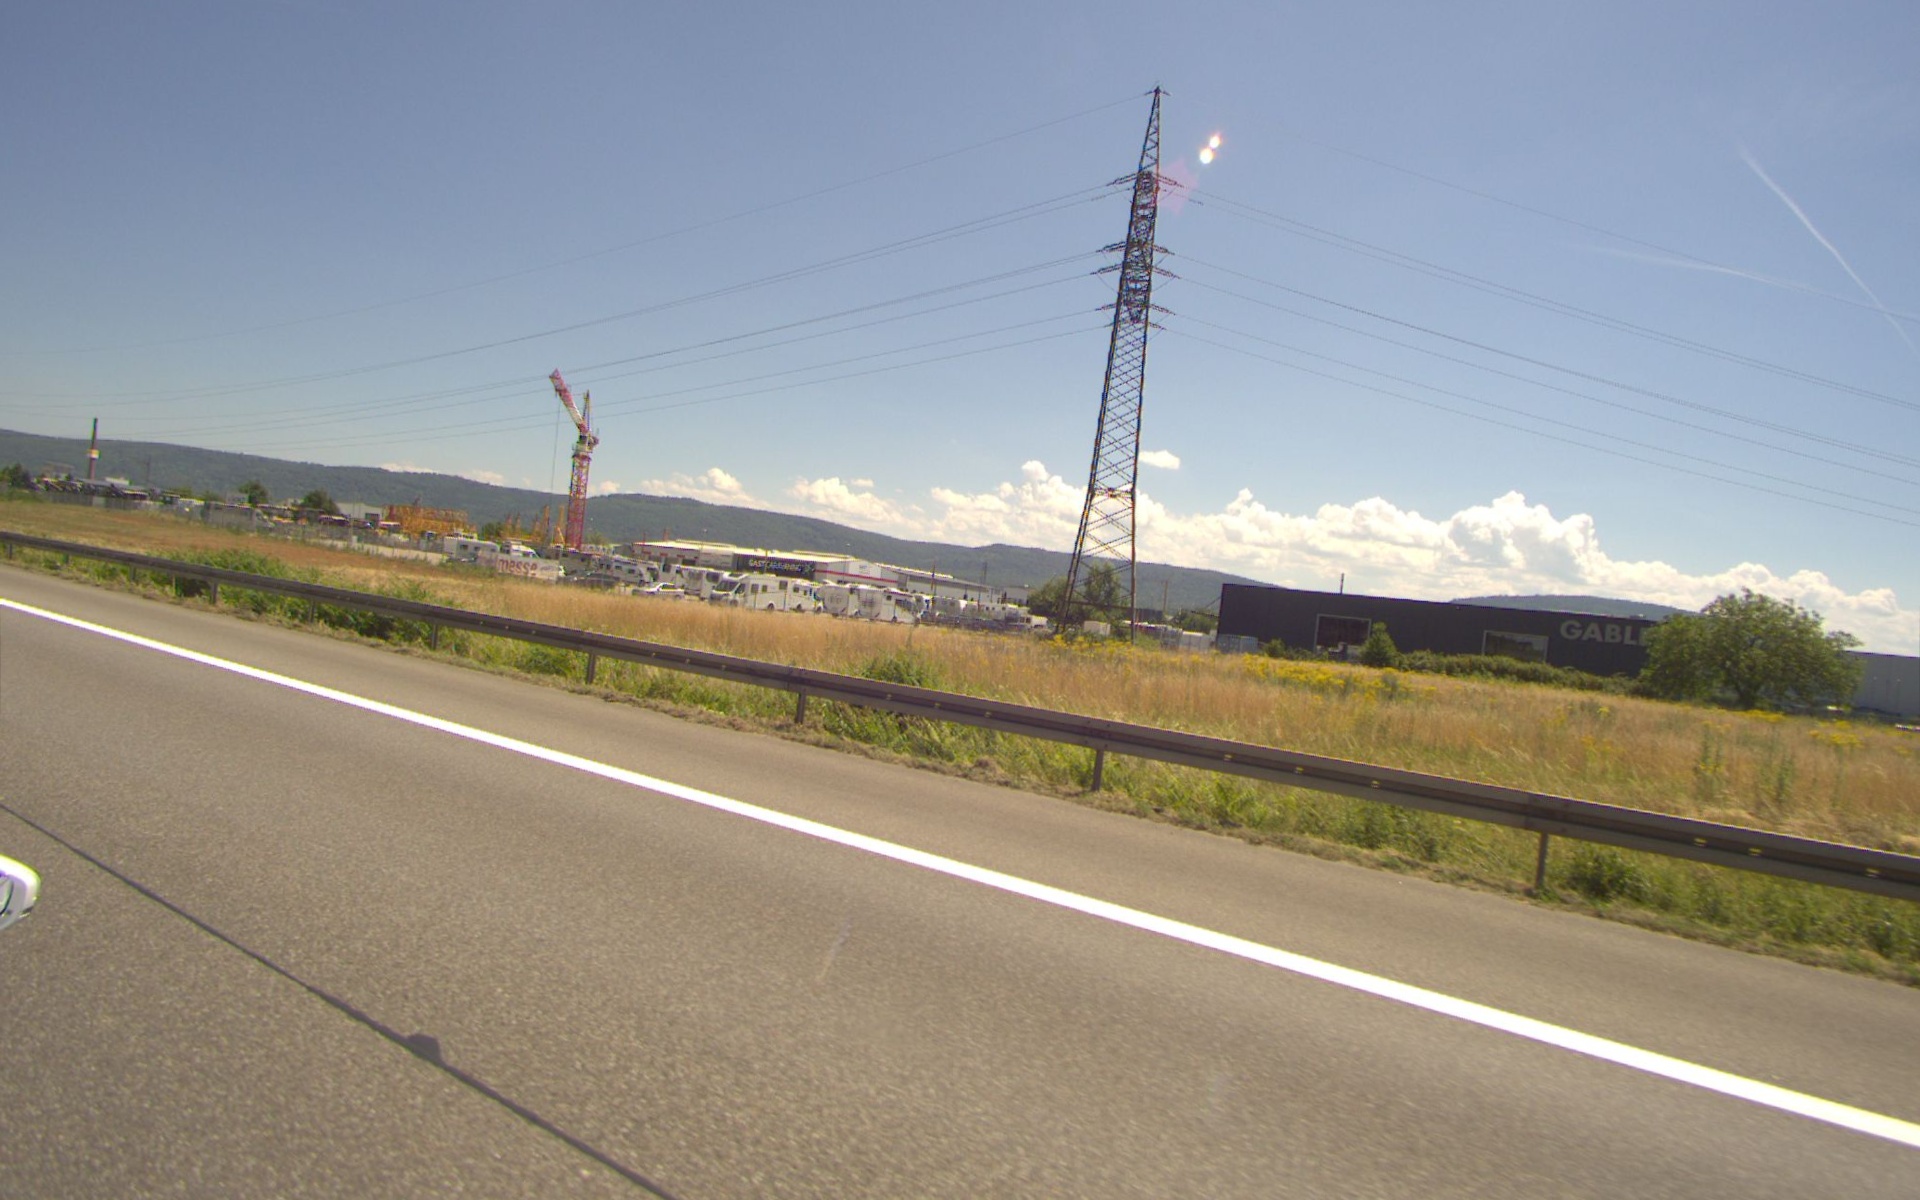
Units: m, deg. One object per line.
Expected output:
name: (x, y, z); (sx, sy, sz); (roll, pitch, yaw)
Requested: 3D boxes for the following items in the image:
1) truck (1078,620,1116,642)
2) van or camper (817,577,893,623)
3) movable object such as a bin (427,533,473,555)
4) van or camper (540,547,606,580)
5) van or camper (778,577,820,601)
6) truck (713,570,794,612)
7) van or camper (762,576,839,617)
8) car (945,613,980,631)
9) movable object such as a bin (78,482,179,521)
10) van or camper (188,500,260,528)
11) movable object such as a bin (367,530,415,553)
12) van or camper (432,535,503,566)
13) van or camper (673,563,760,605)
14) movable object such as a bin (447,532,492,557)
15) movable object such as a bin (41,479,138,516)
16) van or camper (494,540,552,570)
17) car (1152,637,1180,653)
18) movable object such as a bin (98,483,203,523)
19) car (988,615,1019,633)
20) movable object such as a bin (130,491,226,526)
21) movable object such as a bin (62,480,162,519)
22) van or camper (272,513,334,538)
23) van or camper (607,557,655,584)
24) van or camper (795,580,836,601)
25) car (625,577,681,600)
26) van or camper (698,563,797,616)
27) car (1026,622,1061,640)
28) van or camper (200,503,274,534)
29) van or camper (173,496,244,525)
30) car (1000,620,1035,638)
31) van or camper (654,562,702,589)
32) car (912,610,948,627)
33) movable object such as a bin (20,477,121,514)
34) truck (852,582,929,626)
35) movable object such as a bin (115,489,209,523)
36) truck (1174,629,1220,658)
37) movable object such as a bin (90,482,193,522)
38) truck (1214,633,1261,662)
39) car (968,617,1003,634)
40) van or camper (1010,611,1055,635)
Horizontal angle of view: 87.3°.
truck: (15.231, 3.401, 111.343); (2.342, 2.022, 5.149); (7, 0, 28)
van or camper: (-8.953, 0.078, 87.036); (2.627, 3.232, 7.759); (7, -1, 25)
movable object such as a bin: (-75.344, -8.324, 148.553); (6.695, 2.587, 2.914); (6, 1, 32)
van or camper: (-41.439, -3.893, 107.906); (2.381, 2.801, 6.454); (7, 0, 30)
van or camper: (-22.892, -1.563, 143.578); (2.600, 2.765, 5.948); (7, 0, 28)
truck: (-18.252, -0.713, 89.651); (2.558, 2.916, 7.756); (7, -1, 27)
van or camper: (-14.284, -0.263, 90.544); (2.558, 2.916, 7.756); (7, -1, 27)
car: (0.297, 2.189, 99.876); (1.670, 1.370, 3.994); (7, -1, 29)
movable object such as a bin: (-109.572, -12.982, 132.821); (2.928, 3.736, 9.718); (7, 1, 33)
van or camper: (-85.093, -9.912, 116.422); (2.560, 2.248, 6.121); (7, 0, 33)
movable object such as a bin: (-80.322, -8.330, 142.056); (6.695, 2.587, 2.914); (6, 1, 32)
van or camper: (-55.760, -5.598, 114.036); (3.269, 2.711, 6.359); (7, 0, 30)
van or camper: (-21.923, -1.365, 91.101); (3.101, 2.916, 7.756); (7, -1, 27)
movable object such as a bin: (-73.777, -8.301, 151.306); (6.695, 3.068, 2.914); (6, 1, 32)
movable object such as a bin: (-121.481, -14.246, 140.545); (2.634, 3.736, 9.724); (6, 1, 31)
van or camper: (-49.133, -5.013, 113.190); (2.572, 2.711, 5.264); (7, 0, 30)
car: (21.545, 4.740, 105.222); (1.692, 1.370, 3.663); (7, -1, 29)
movable object such as a bin: (-102.688, -12.288, 127.777); (3.367, 3.736, 9.709); (7, 1, 37)
car: (5.094, 2.769, 116.119); (1.740, 1.654, 4.239); (7, -1, 29)
movable object such as a bin: (-96.543, -11.269, 124.354); (3.165, 3.045, 8.722); (7, 1, 37)
movable object such as a bin: (-113.137, -13.367, 134.376); (2.591, 3.736, 9.718); (7, 1, 33)
van or camper: (-84.938, -9.618, 130.102); (2.560, 2.432, 6.121); (7, 0, 33)
van or camper: (-40.675, -3.629, 124.600); (2.570, 2.799, 5.270); (7, 0, 24)
van or camper: (-20.374, -1.352, 141.888); (2.461, 2.414, 5.948); (7, 0, 28)
car: (-23.379, -0.869, 76.677); (1.560, 1.313, 3.895); (7, -1, 32)
van or camper: (-15.632, -0.691, 74.725); (2.393, 3.138, 7.752); (7, -1, 29)
car: (7.972, 2.985, 95.872); (1.692, 1.370, 3.994); (7, -1, 29)
van or camper: (-82.443, -9.298, 114.825); (2.398, 2.584, 6.347); (7, 0, 33)
van or camper: (-87.934, -10.423, 117.810); (2.560, 2.432, 6.121); (7, 0, 33)
car: (5.591, 2.824, 97.653); (1.670, 1.370, 3.994); (7, -1, 29)
van or camper: (-33.633, -2.904, 120.160); (2.377, 2.588, 5.326); (7, 0, 24)
car: (-3.022, 1.875, 101.640); (1.670, 1.370, 3.994); (7, -1, 29)
movable object such as a bin: (-125.140, -14.678, 141.688); (2.354, 3.736, 10.261); (6, 1, 31)
truck: (-5.790, 0.384, 85.199); (2.725, 2.916, 7.756); (7, -1, 27)
movable object such as a bin: (-99.753, -11.723, 125.924); (2.912, 3.045, 8.719); (7, 1, 38)
truck: (24.475, 4.502, 103.669); (2.531, 2.477, 6.137); (7, 0, 31)
movable object such as a bin: (-105.476, -12.579, 129.838); (2.931, 3.736, 9.708); (7, 1, 37)
truck: (28.002, 4.798, 101.362); (2.531, 2.477, 6.779); (7, 0, 31)
car: (2.548, 2.514, 98.581); (1.670, 1.370, 3.994); (7, -1, 29)
van or camper: (8.311, 2.675, 114.759); (2.713, 2.285, 6.222); (7, 0, 28)
